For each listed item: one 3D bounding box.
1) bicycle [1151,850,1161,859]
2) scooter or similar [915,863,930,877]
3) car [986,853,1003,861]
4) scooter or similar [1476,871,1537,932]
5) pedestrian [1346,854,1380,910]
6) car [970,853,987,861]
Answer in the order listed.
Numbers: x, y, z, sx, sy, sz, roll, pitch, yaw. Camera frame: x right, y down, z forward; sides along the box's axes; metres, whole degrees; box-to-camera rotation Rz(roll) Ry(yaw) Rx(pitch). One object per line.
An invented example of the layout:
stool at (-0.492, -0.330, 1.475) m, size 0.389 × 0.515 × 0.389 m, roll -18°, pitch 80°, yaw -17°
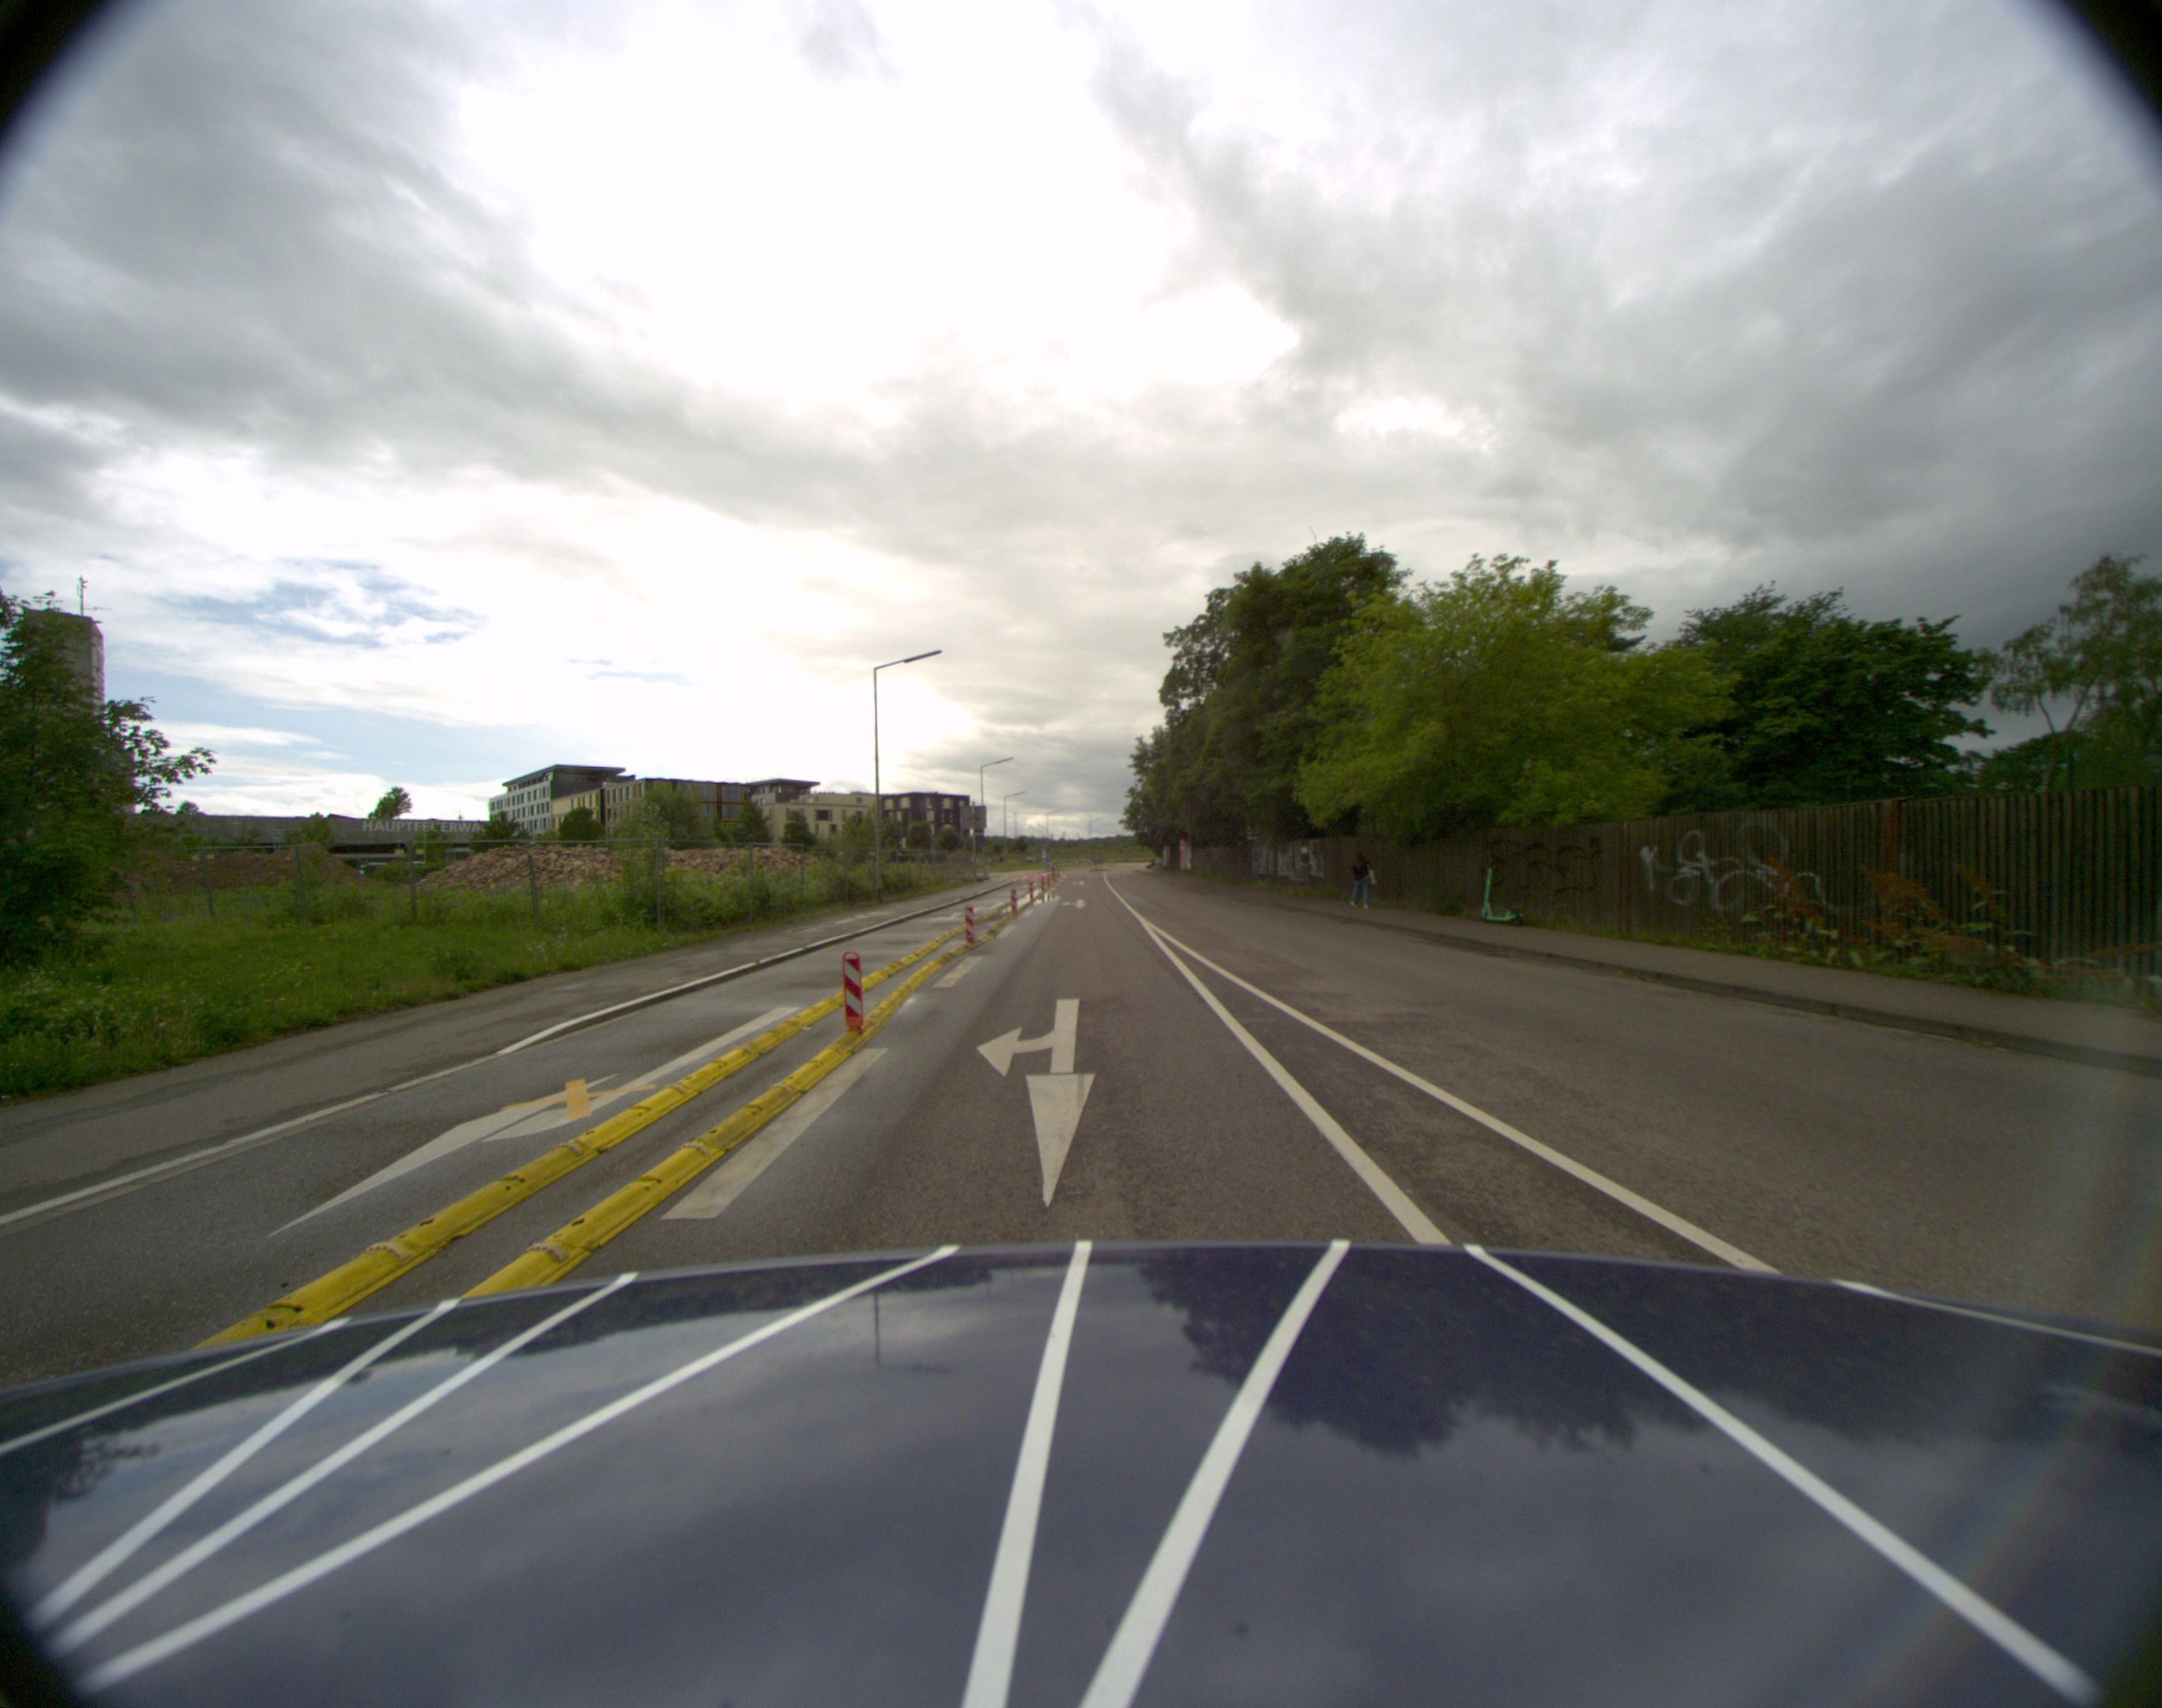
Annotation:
bicycle at (9.219, 0.022, 93.198) m, size 0.582 × 0.992 × 1.773 m, roll -3°, pitch 0°, yaw 28°
scooter or similar at (-13.184, 1.318, 63.162) m, size 1.323 × 1.178 × 0.447 m, roll 0°, pitch 1°, yaw 41°
car at (-21.559, 0.643, 189.041) m, size 1.994 × 2.002 × 4.008 m, roll 0°, pitch 0°, yaw 42°
scooter or similar at (8.615, 0.939, 15.444) m, size 0.424 × 1.164 × 1.303 m, roll -1°, pitch 0°, yaw -5°
pedestrian at (7.755, 0.752, 20.930) m, size 0.614 × 1.520 × 0.724 m, roll -1°, pitch 1°, yaw -4°
car at (-26.278, 0.730, 194.799) m, size 1.994 × 2.002 × 4.008 m, roll 0°, pitch 0°, yaw 42°
